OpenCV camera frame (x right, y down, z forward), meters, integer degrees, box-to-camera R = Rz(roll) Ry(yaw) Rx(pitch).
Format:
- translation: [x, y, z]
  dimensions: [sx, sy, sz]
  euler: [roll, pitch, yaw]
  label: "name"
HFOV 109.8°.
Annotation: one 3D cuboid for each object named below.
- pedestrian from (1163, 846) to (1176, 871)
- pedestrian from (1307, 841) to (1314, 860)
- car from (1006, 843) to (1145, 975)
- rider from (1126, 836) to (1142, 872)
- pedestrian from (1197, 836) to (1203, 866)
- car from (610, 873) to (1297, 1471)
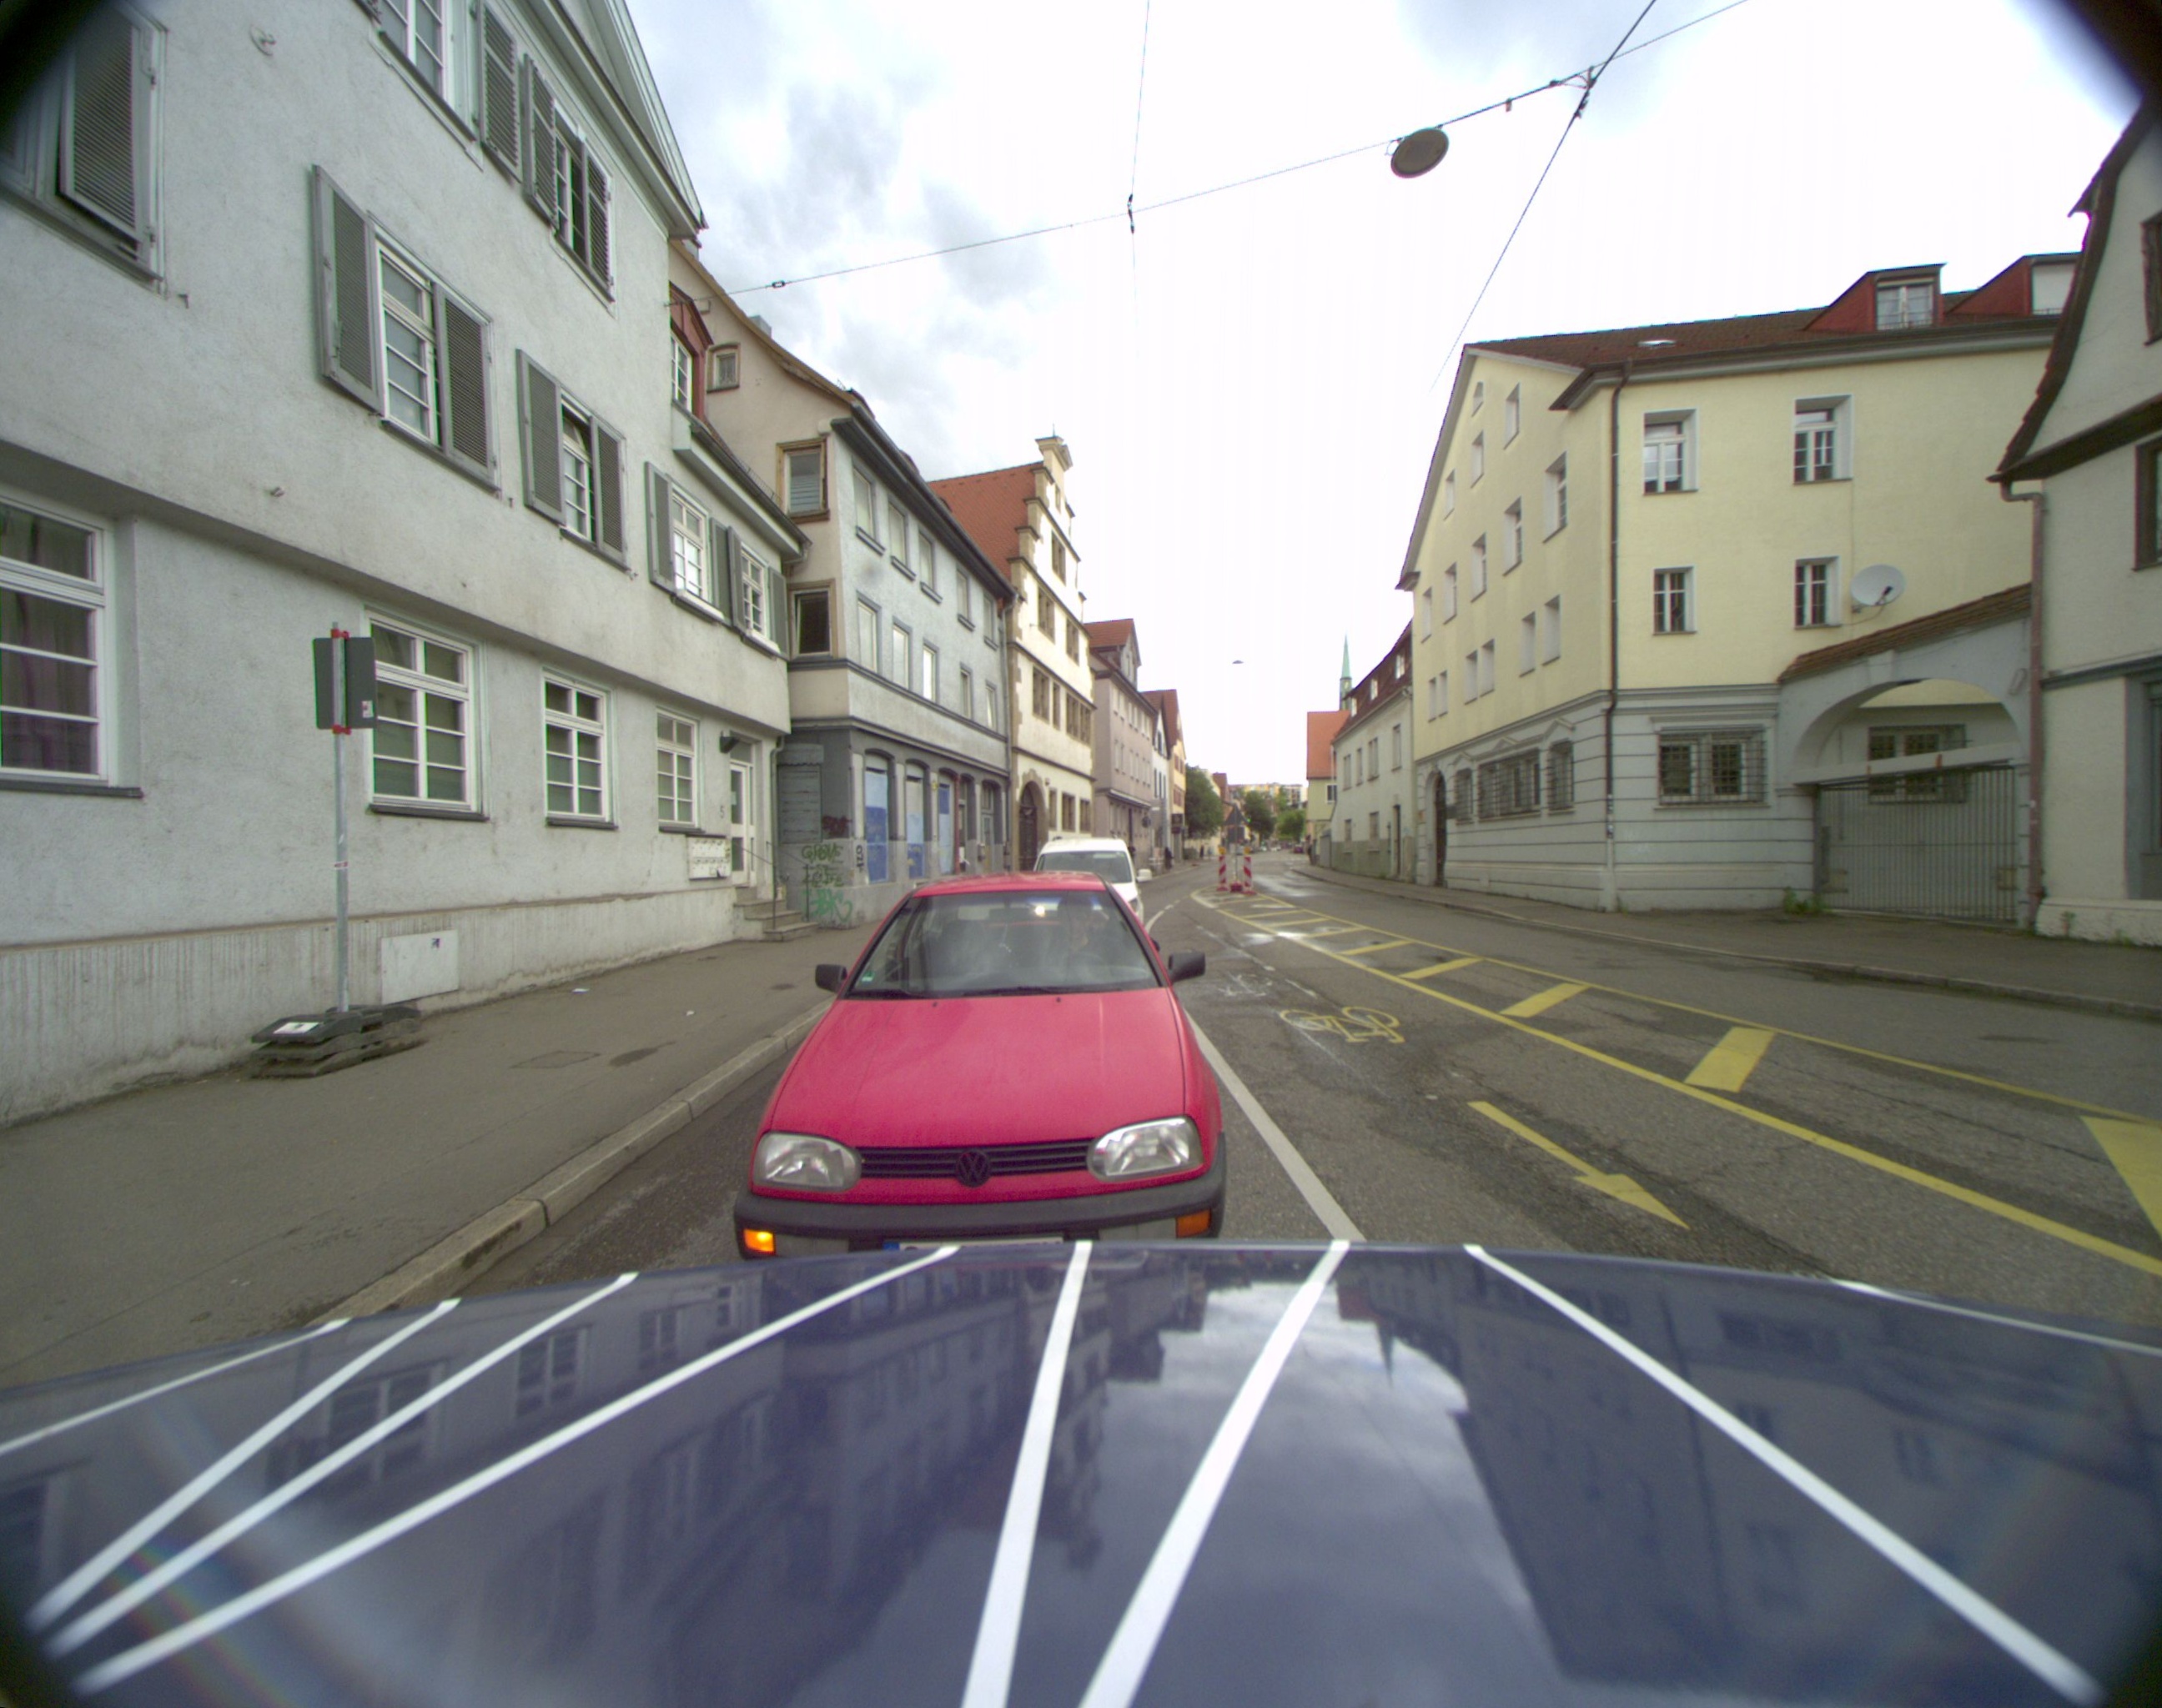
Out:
- translation: [5.670, 0.279, 48.626]
  dimensions: [0.725, 1.604, 0.649]
  euler: [-2, 0, 13]
  label: "pedestrian"
- translation: [21.947, -0.306, 72.675]
  dimensions: [0.592, 1.769, 0.506]
  euler: [0, 1, 22]
  label: "pedestrian"
- translation: [0.011, 0.696, 12.167]
  dimensions: [1.814, 1.695, 4.256]
  euler: [-1, 1, 2]
  label: "car"
- translation: [2.745, 0.010, 39.289]
  dimensions: [0.719, 1.837, 0.798]
  euler: [-1, 1, 13]
  label: "rider"
- translation: [10.007, -0.217, 63.918]
  dimensions: [0.495, 2.513, 0.746]
  euler: [-1, 1, 12]
  label: "pedestrian"
- translation: [-0.314, 0.907, 4.027]
  dimensions: [1.792, 1.417, 3.999]
  euler: [-1, 1, 1]
  label: "car"
